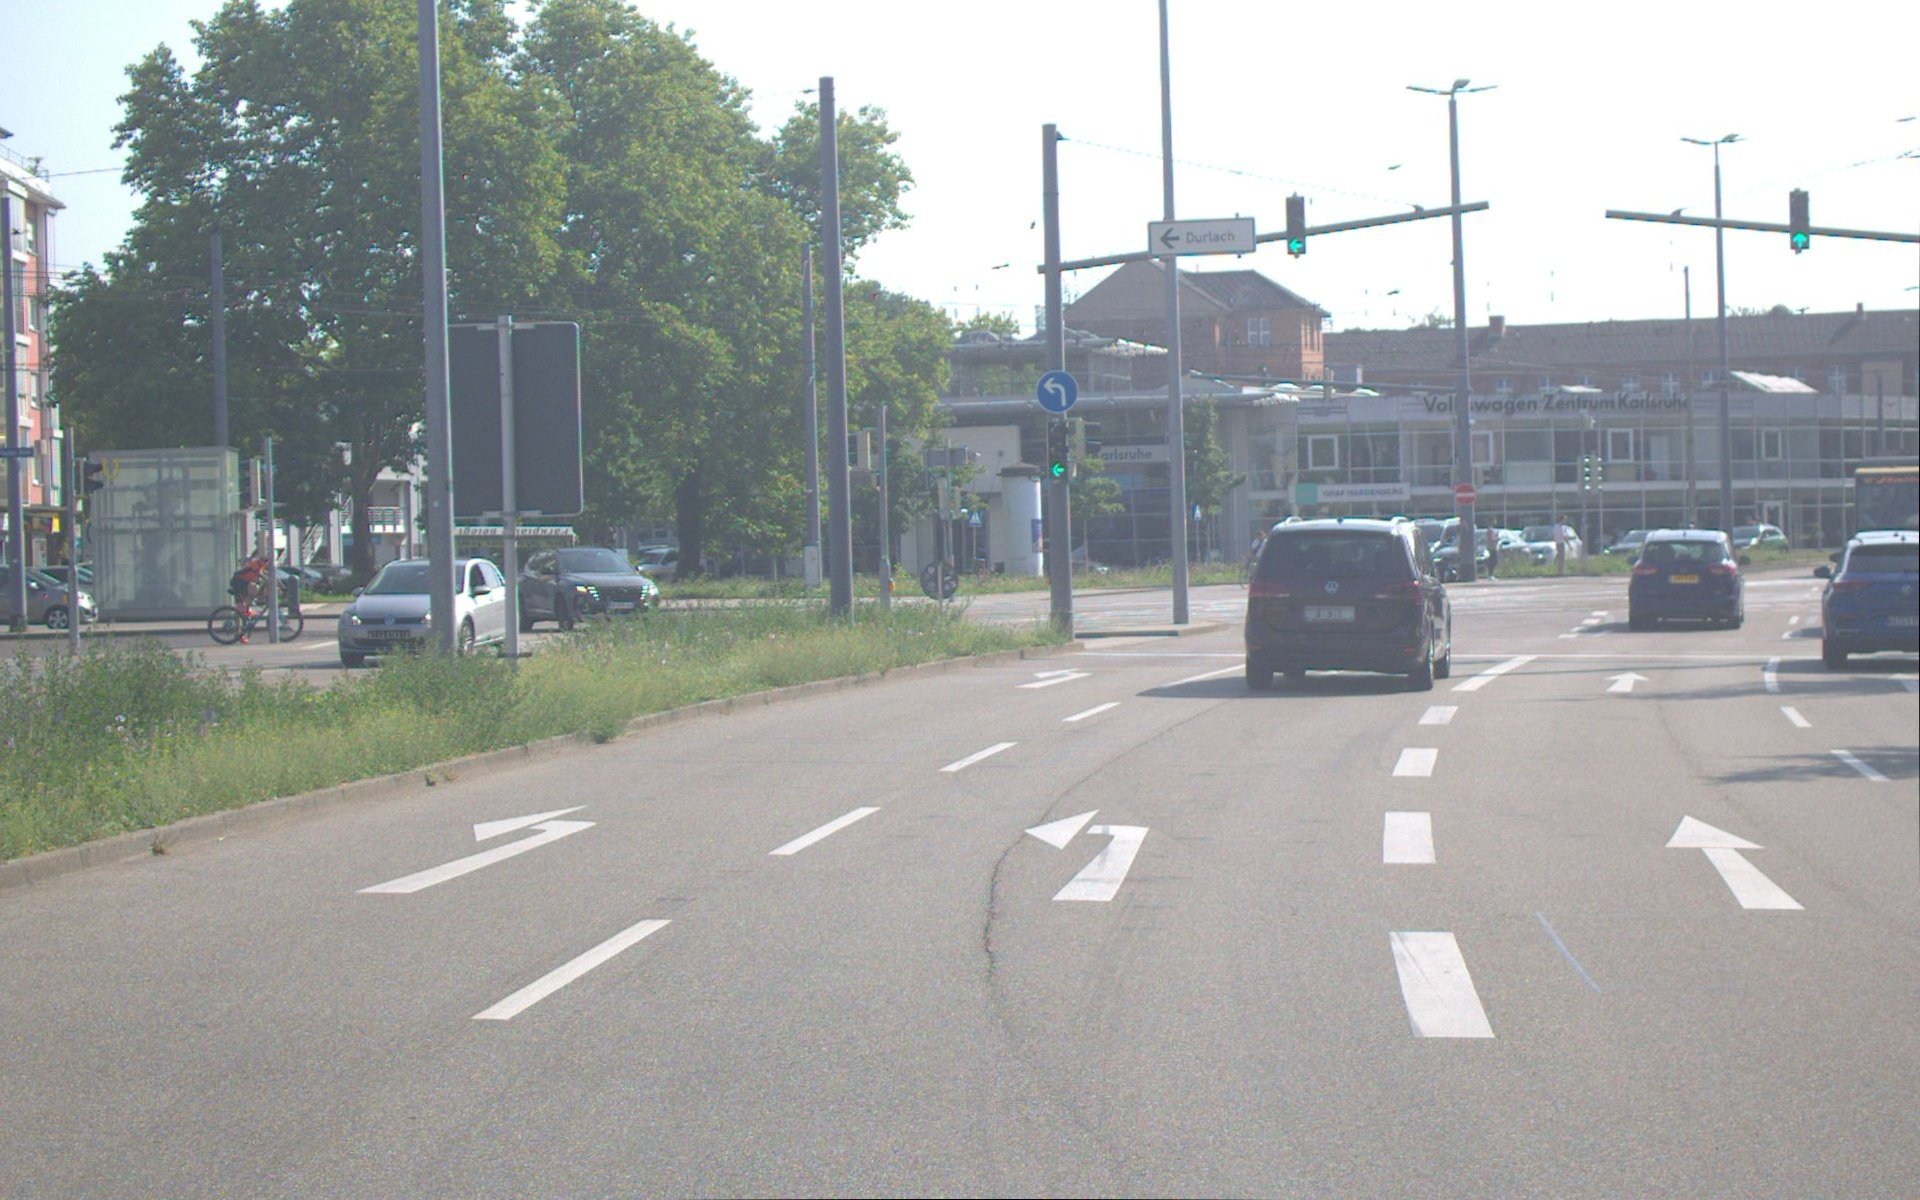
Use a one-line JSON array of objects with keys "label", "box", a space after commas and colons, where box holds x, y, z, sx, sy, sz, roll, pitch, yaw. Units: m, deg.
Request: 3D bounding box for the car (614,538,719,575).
[{"label": "car", "box": [-12.645, -1.881, 148.418, 1.704, 1.517, 4.503, 0, 1, 44]}]

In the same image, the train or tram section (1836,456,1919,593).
[{"label": "train or tram section", "box": [27.891, -2.215, 98.831, 2.659, 3.686, 10.573, -1, 1, 28]}]

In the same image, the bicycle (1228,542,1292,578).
[{"label": "bicycle", "box": [8.967, -1.207, 102.684, 0.959, 1.053, 2.604, 0, 1, 28]}]

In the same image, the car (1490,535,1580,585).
[{"label": "car", "box": [18.261, -1.286, 109.023, 1.616, 1.470, 3.994, -3, 0, 27]}]

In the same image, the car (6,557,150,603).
[{"label": "car", "box": [-27.410, -0.622, 106.895, 4.155, 1.349, 1.578, -1, 1, -6]}]

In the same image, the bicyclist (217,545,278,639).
[{"label": "bicyclist", "box": [-12.659, -0.152, 61.106, 0.881, 1.646, 0.726, -1, 1, 1]}]

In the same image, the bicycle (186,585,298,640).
[{"label": "bicycle", "box": [-12.752, 0.221, 61.110, 1.813, 0.929, 0.726, -1, 1, 1]}]

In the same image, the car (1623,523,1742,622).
[{"label": "car", "box": [11.933, -0.484, 56.950, 1.826, 1.530, 4.410, -1, 1, 11]}]

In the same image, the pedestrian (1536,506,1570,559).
[{"label": "pedestrian", "box": [16.972, -1.919, 98.322, 0.778, 1.498, 0.709, -1, 1, 25]}]

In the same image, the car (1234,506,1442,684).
[{"label": "car", "box": [3.961, -0.103, 35.459, 1.826, 1.708, 4.410, 1, 1, 10]}]

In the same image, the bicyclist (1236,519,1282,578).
[{"label": "bicyclist", "box": [8.919, -1.546, 102.592, 0.959, 1.742, 1.164, 0, 1, 28]}]

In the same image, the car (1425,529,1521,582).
[{"label": "car", "box": [15.395, -1.354, 103.054, 1.616, 1.470, 3.994, -3, 0, 27]}]

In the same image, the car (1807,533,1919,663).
[{"label": "car", "box": [11.211, -0.070, 41.049, 1.826, 1.423, 4.410, -1, 1, 10]}]

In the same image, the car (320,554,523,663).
[{"label": "car", "box": [-7.563, 0.093, 48.654, 1.814, 1.428, 4.224, -1, 1, 6]}]

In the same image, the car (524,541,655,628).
[{"label": "car", "box": [-7.270, -0.318, 67.131, 1.693, 1.612, 4.463, -1, 1, -17]}]
